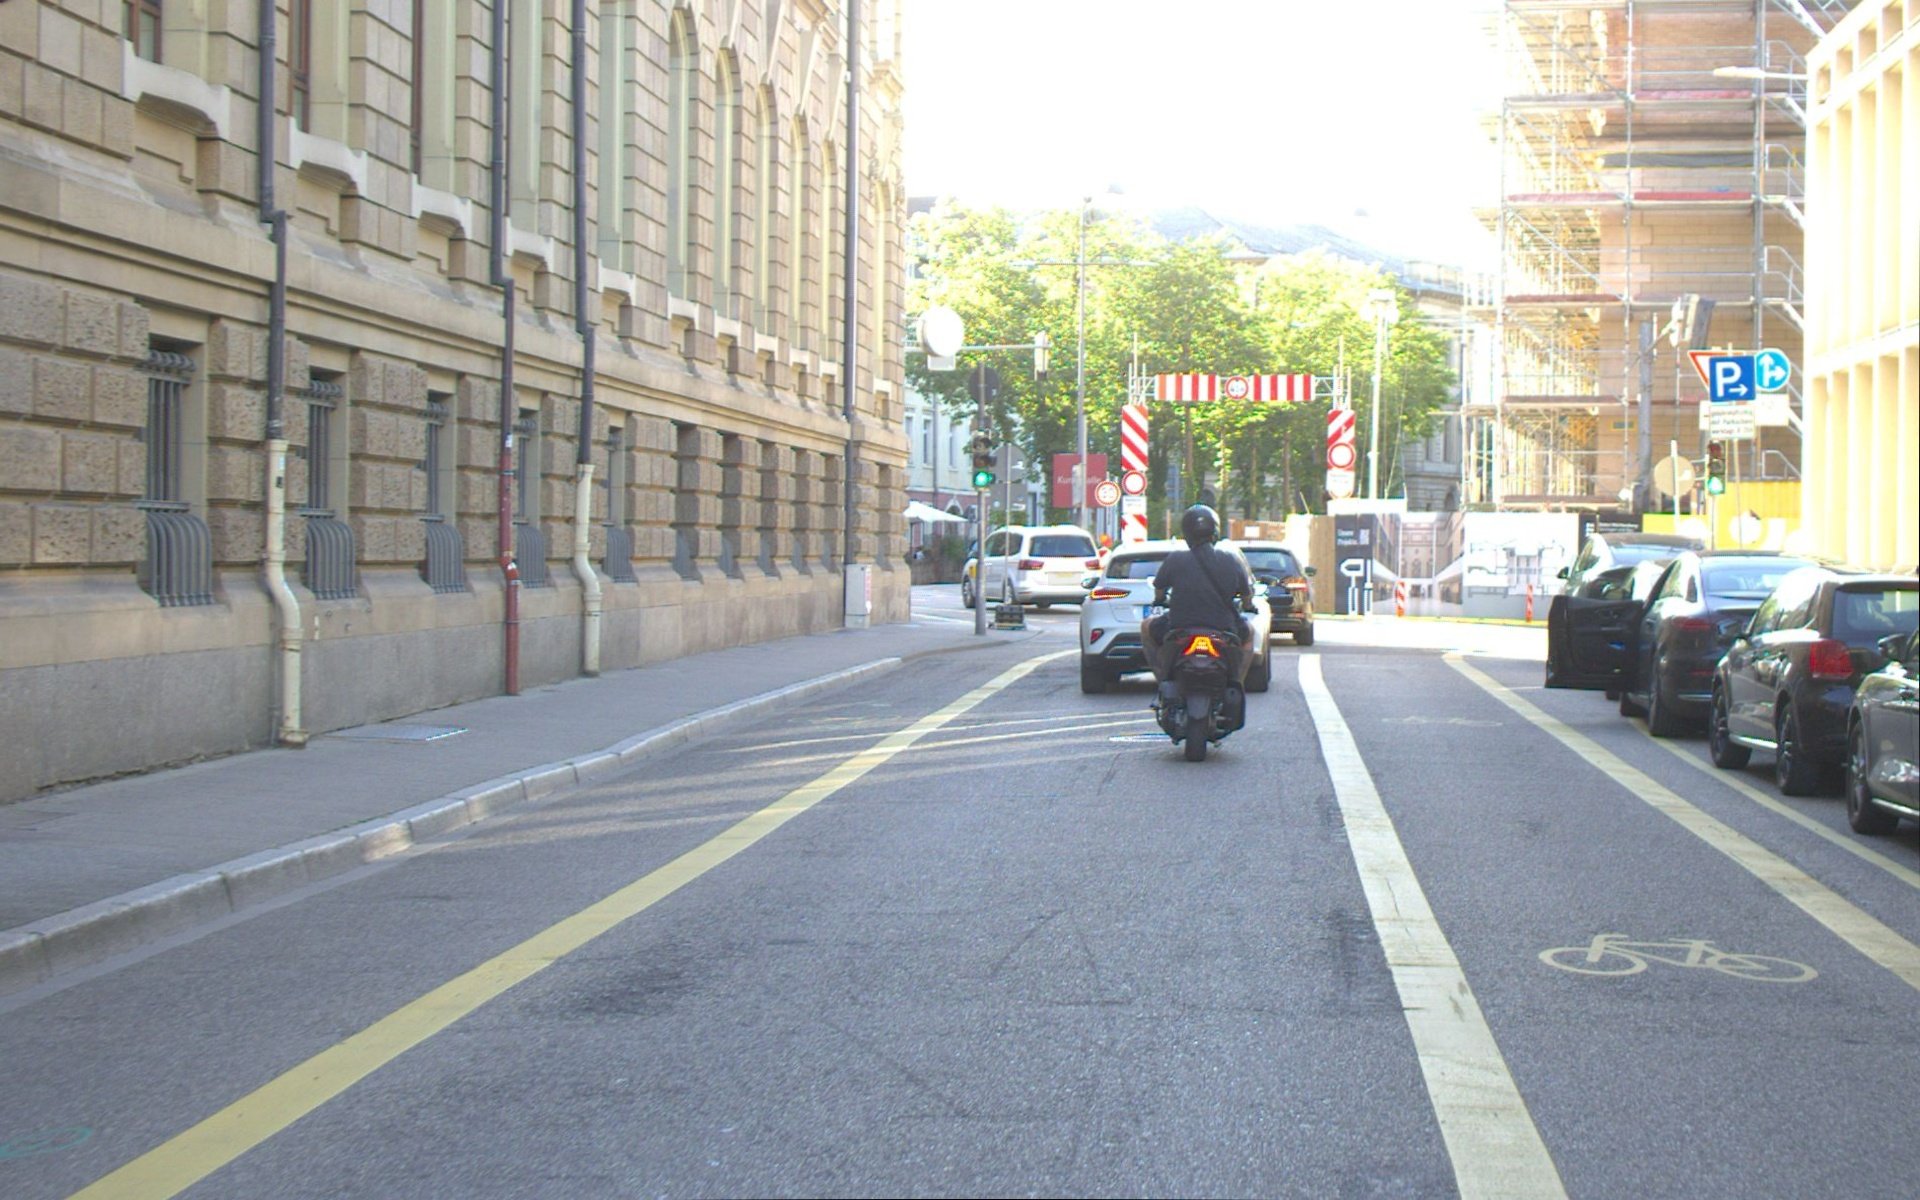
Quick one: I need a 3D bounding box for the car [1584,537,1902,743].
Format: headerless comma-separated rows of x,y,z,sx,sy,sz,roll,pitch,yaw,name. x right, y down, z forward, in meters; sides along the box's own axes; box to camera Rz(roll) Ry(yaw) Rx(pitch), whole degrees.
6.398,0.261,28.599,1.825,1.496,4.736,2,1,4,car

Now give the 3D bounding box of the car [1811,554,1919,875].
5.479,0.571,16.839,1.782,1.474,4.288,2,2,4,car

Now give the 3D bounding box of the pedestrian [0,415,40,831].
-4.574,0.077,14.554,0.841,1.794,1.073,4,1,7,pedestrian

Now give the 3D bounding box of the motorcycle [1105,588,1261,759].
1.533,0.477,23.342,0.873,1.105,1.839,0,0,10,motorcycle

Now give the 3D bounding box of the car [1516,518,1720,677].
7.832,-0.082,41.318,1.825,1.693,4.666,2,2,4,car

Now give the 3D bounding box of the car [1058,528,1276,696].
2.142,0.083,34.553,1.823,1.536,4.262,2,1,8,car

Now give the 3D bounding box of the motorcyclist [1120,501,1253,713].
1.550,0.045,23.472,0.867,1.422,0.455,0,0,8,motorcyclist

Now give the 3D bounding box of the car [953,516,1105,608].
1.352,-0.800,69.652,1.993,1.659,4.360,-2,3,-14,car

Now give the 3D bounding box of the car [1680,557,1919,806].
5.929,0.479,22.567,1.781,1.474,4.288,0,0,4,car
